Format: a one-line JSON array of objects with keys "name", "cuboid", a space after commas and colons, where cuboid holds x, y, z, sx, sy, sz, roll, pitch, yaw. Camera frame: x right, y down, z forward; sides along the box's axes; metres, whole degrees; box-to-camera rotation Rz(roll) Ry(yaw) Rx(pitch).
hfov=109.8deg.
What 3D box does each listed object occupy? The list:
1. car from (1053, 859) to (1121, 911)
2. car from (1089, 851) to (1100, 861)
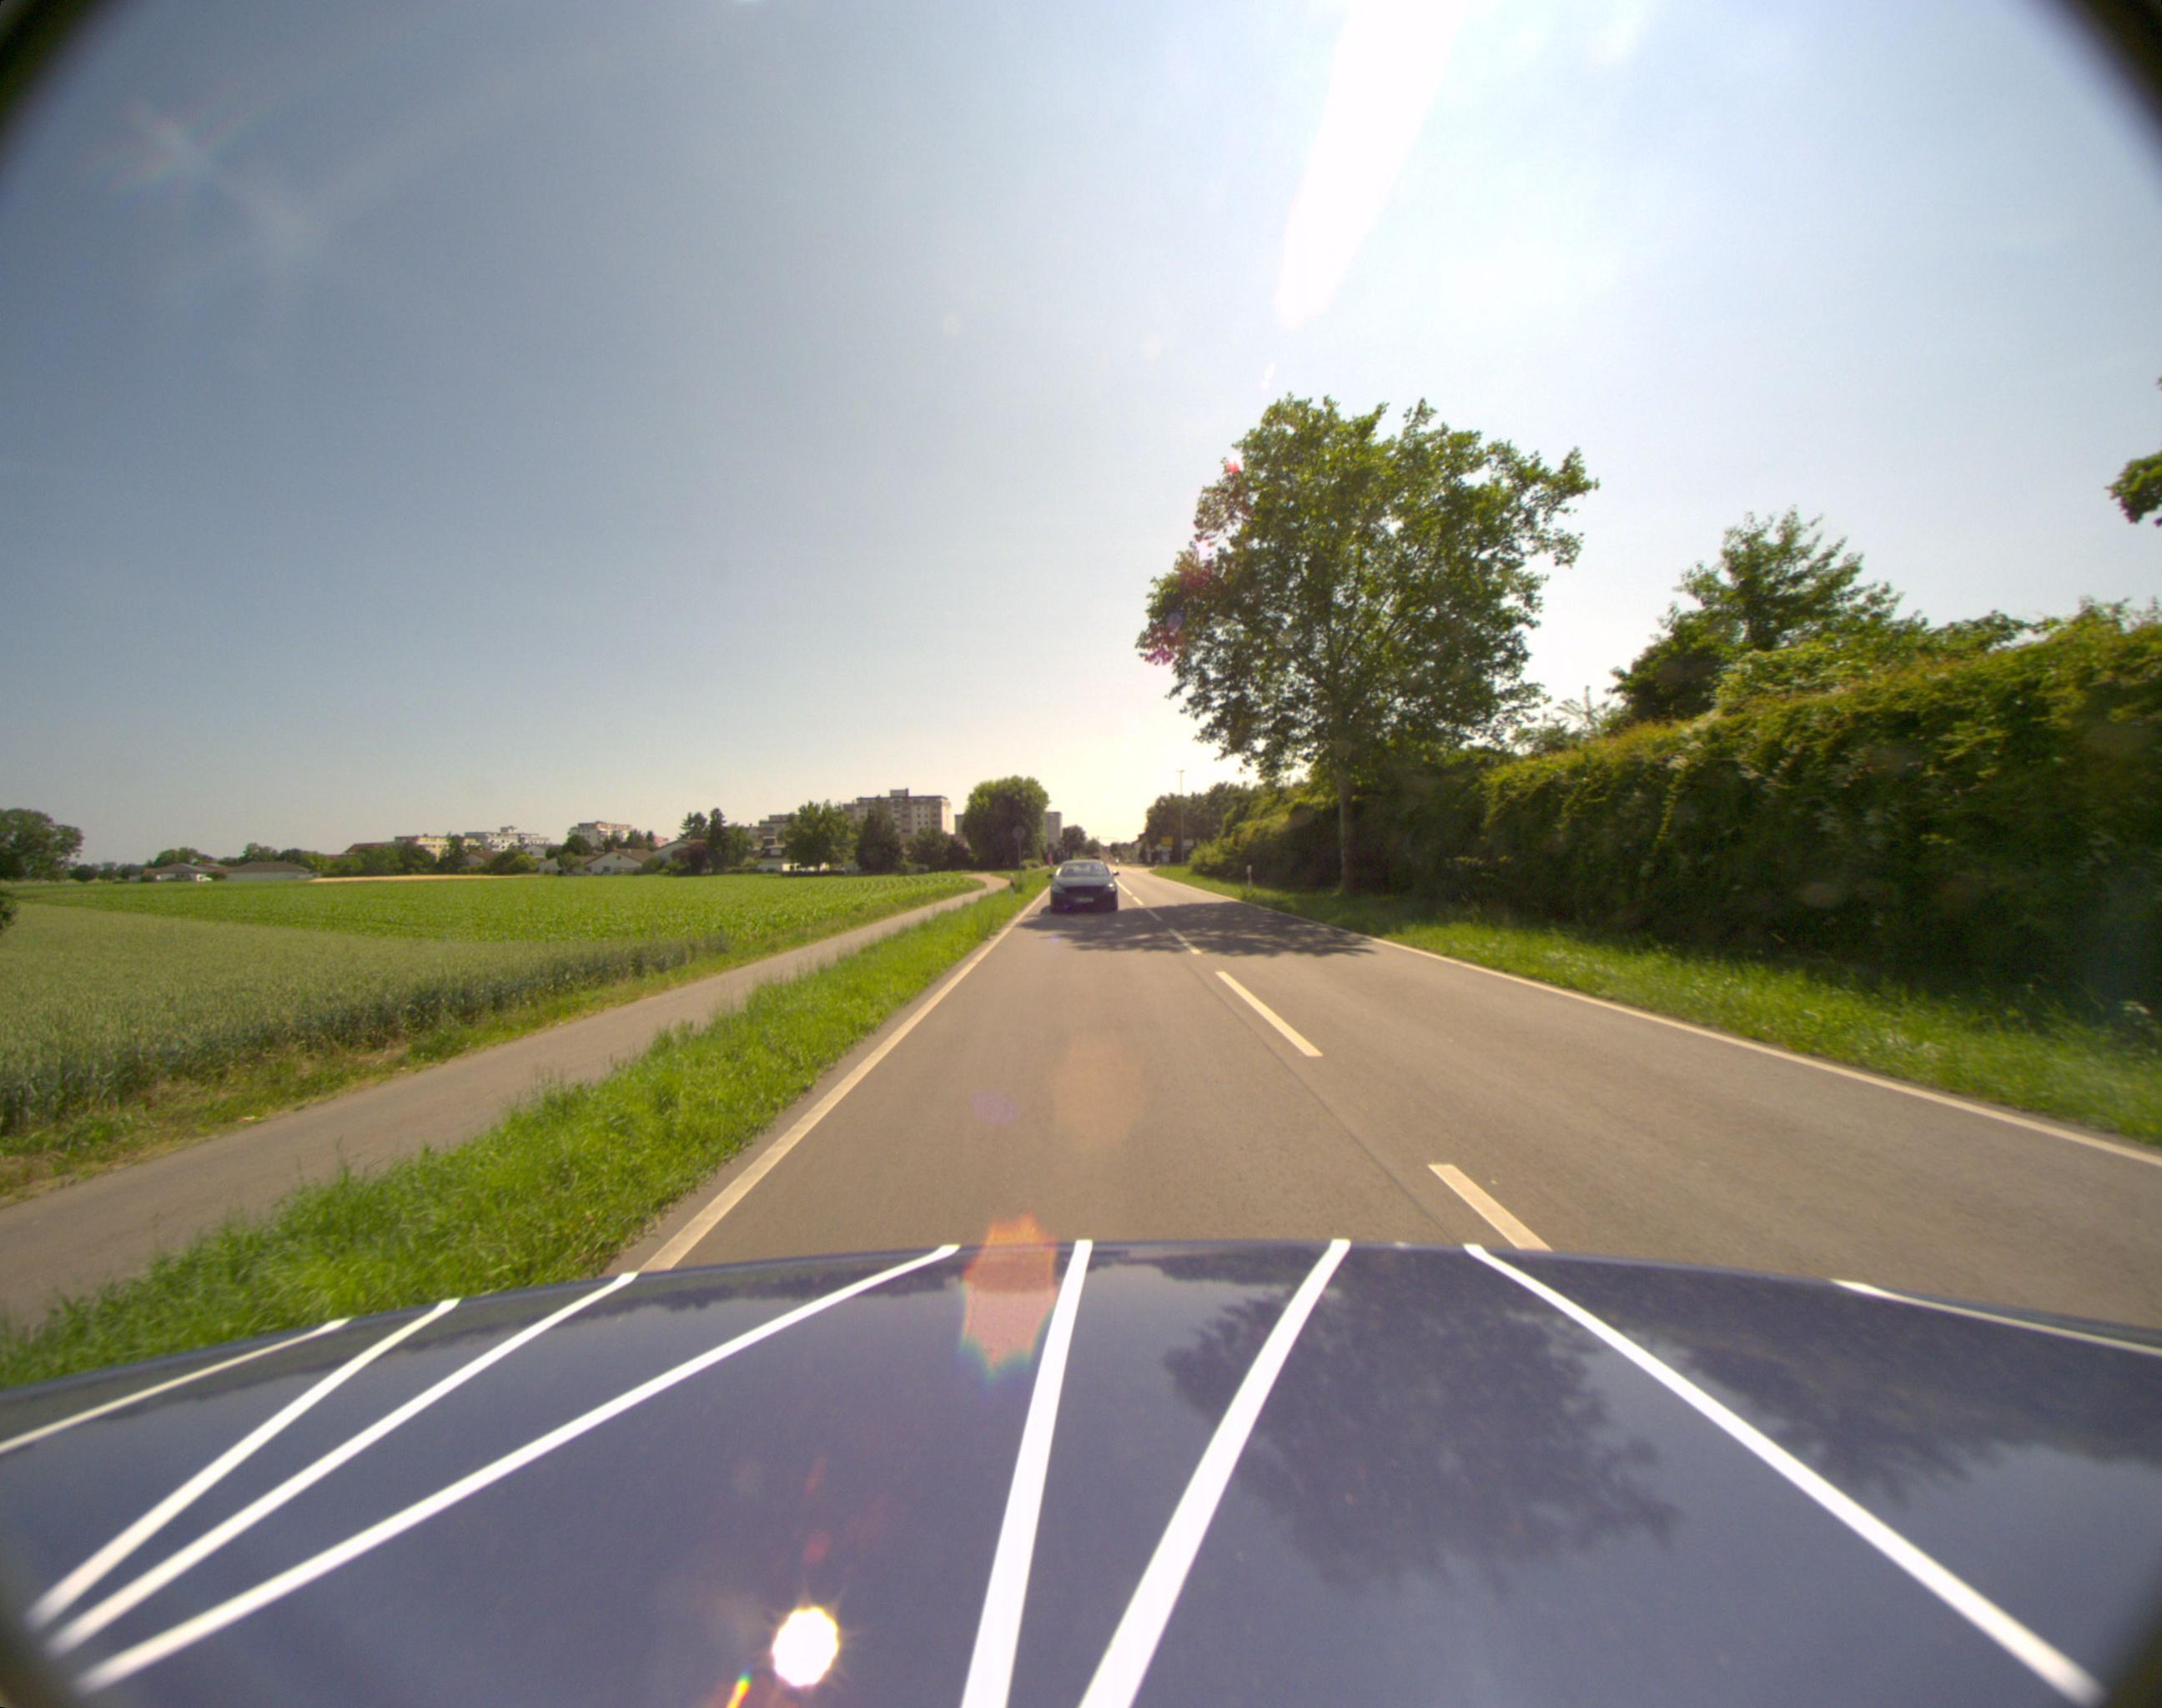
[{"name": "car", "cuboid": [0.126, 0.908, 24.290, 1.889, 1.429, 4.838, -2, 0, -1]}, {"name": "car", "cuboid": [2.643, 0.474, 149.812, 2.149, 1.940, 5.247, 0, 0, 0]}]
